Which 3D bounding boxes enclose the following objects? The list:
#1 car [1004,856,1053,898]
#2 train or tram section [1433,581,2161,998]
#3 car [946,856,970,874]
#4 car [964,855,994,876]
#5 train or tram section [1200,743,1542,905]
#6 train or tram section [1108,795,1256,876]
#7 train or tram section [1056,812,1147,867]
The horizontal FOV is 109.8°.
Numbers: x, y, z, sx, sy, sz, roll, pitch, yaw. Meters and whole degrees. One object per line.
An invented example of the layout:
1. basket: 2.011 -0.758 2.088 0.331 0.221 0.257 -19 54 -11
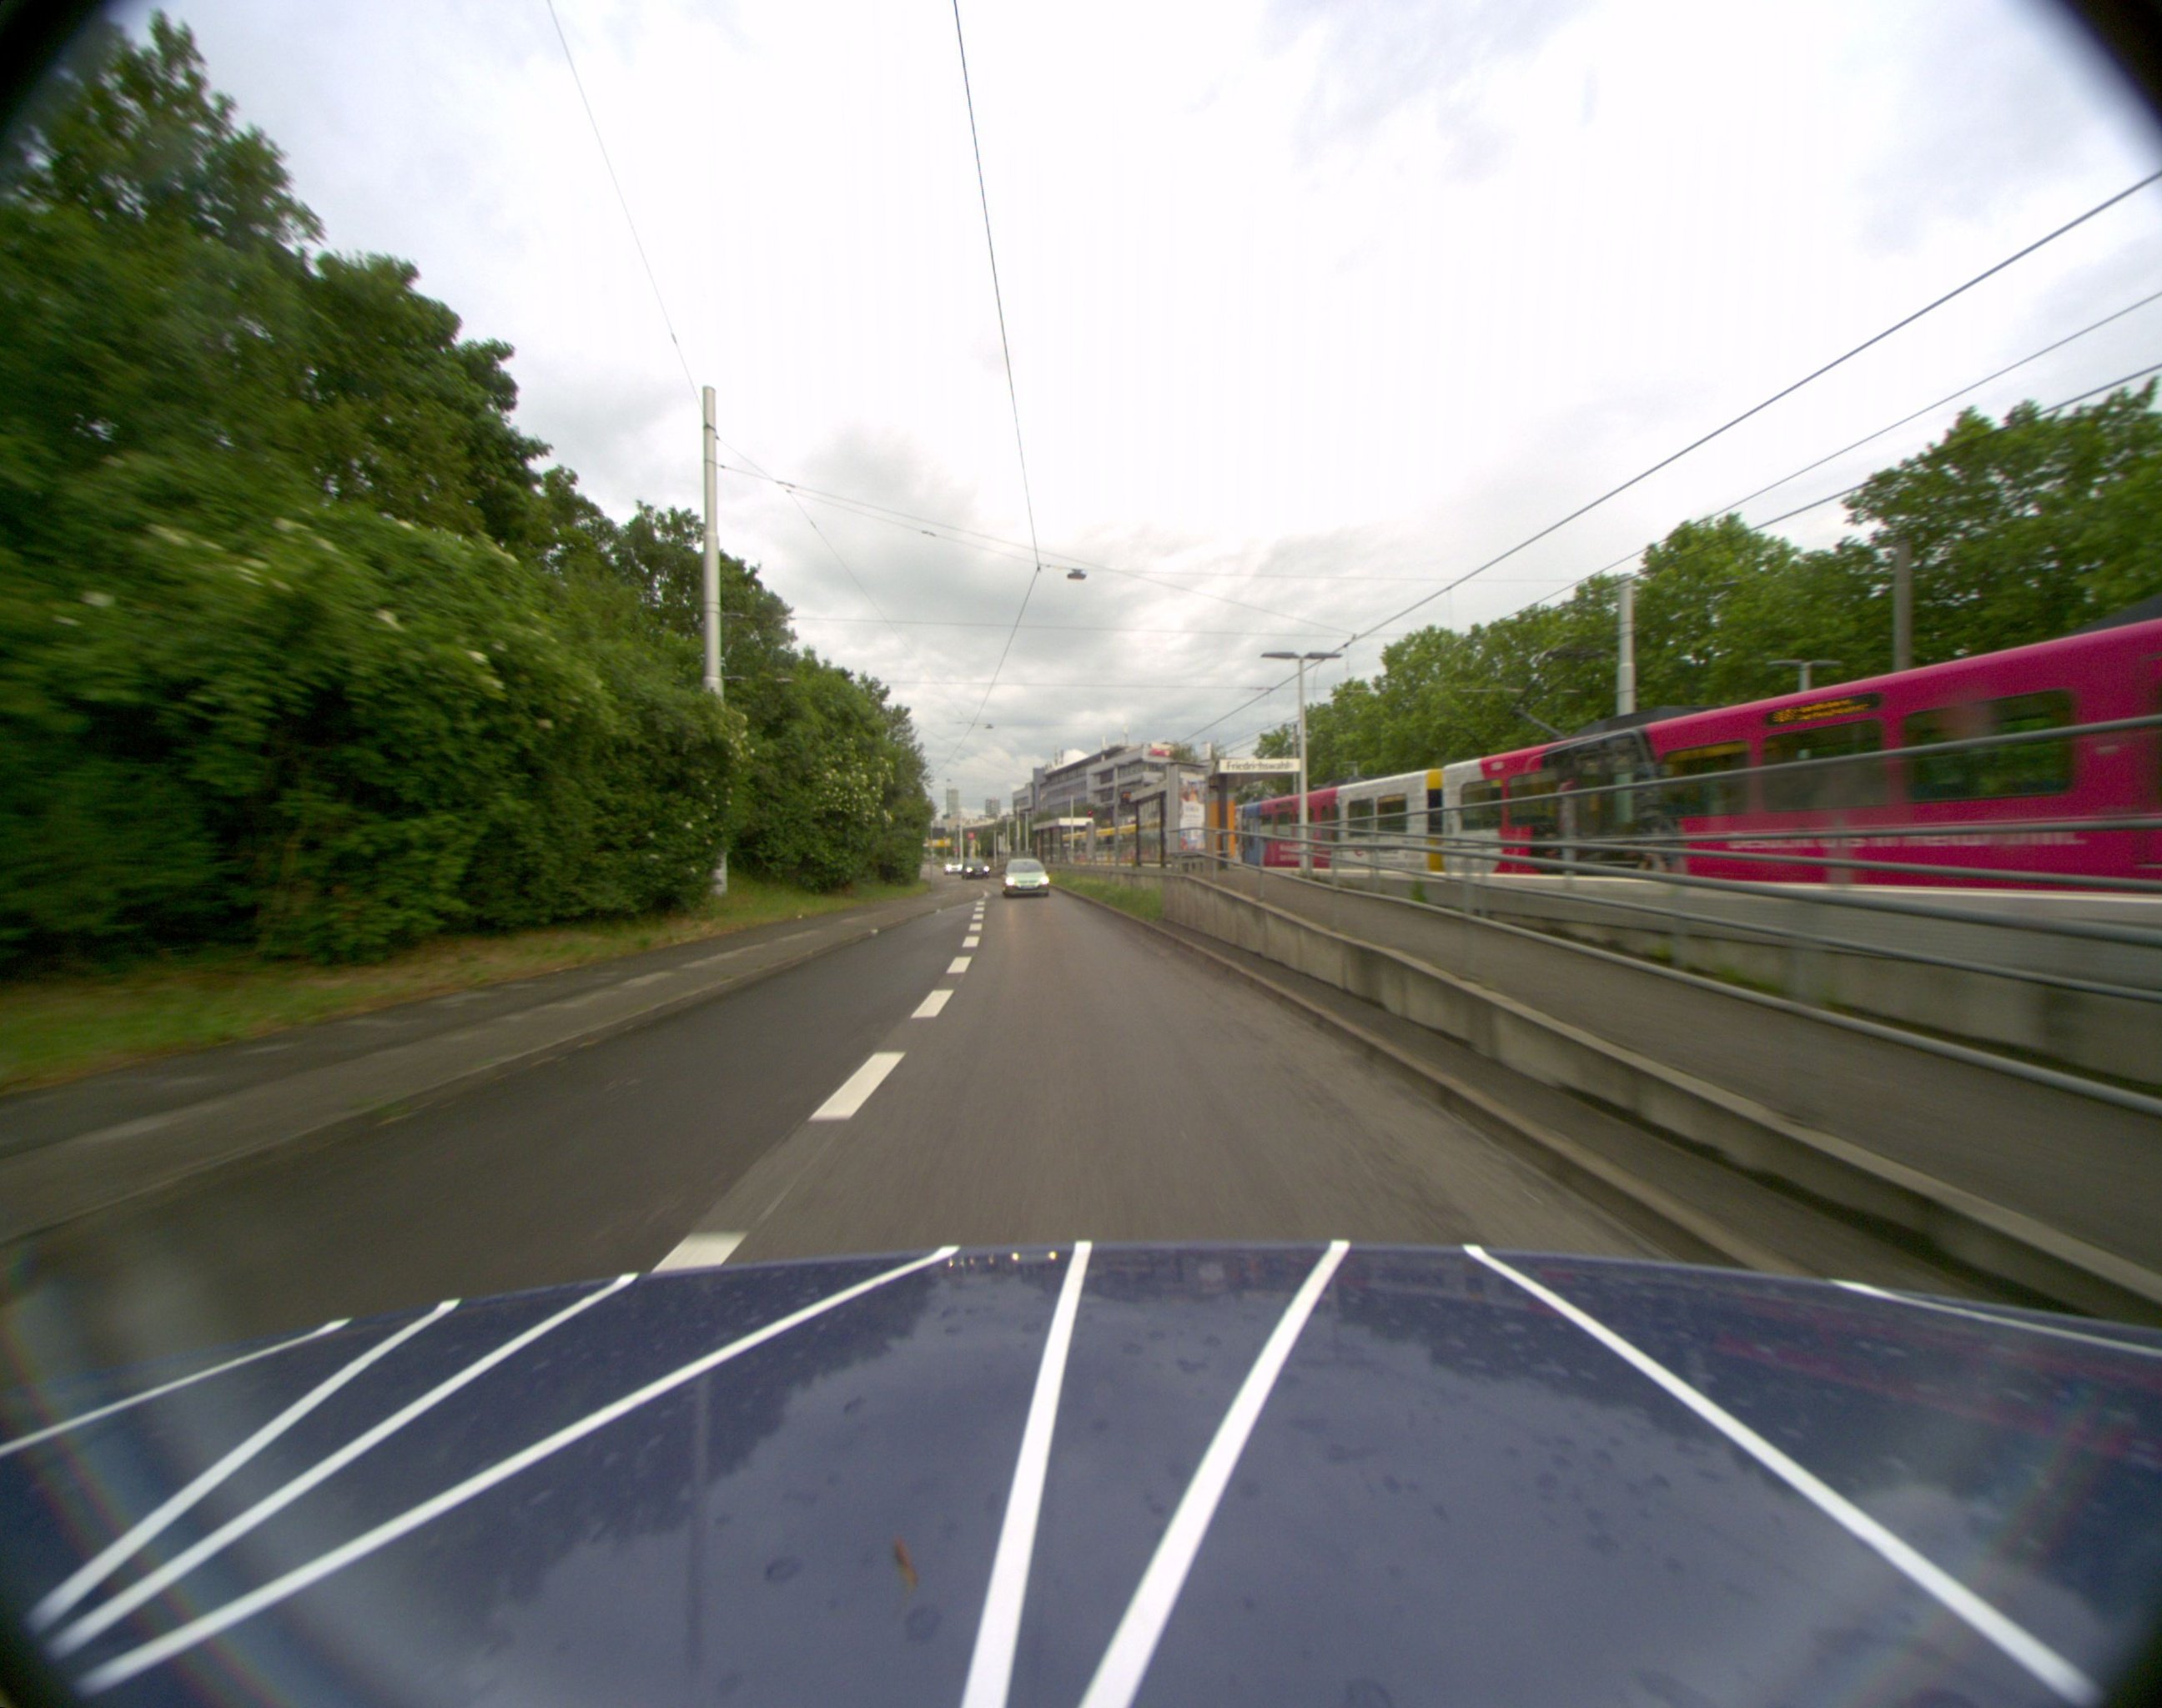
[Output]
1. car: -2.199 0.875 30.836 1.781 1.493 3.997 0 1 -7
2. train or tram section: 11.390 -0.721 9.718 2.876 3.938 19.315 -4 1 -6
3. car: -11.782 1.017 72.775 2.000 1.563 3.995 -4 1 -12
4. car: -7.680 0.833 56.907 1.782 1.493 3.995 -2 1 -13
5. train or tram section: 8.898 -0.928 28.801 2.877 3.948 19.312 -4 1 -8
6. train or tram section: 5.482 -1.081 47.831 2.878 3.932 19.308 -4 1 -11
7. train or tram section: 1.234 -1.193 66.626 2.878 3.950 19.305 -4 1 -13
